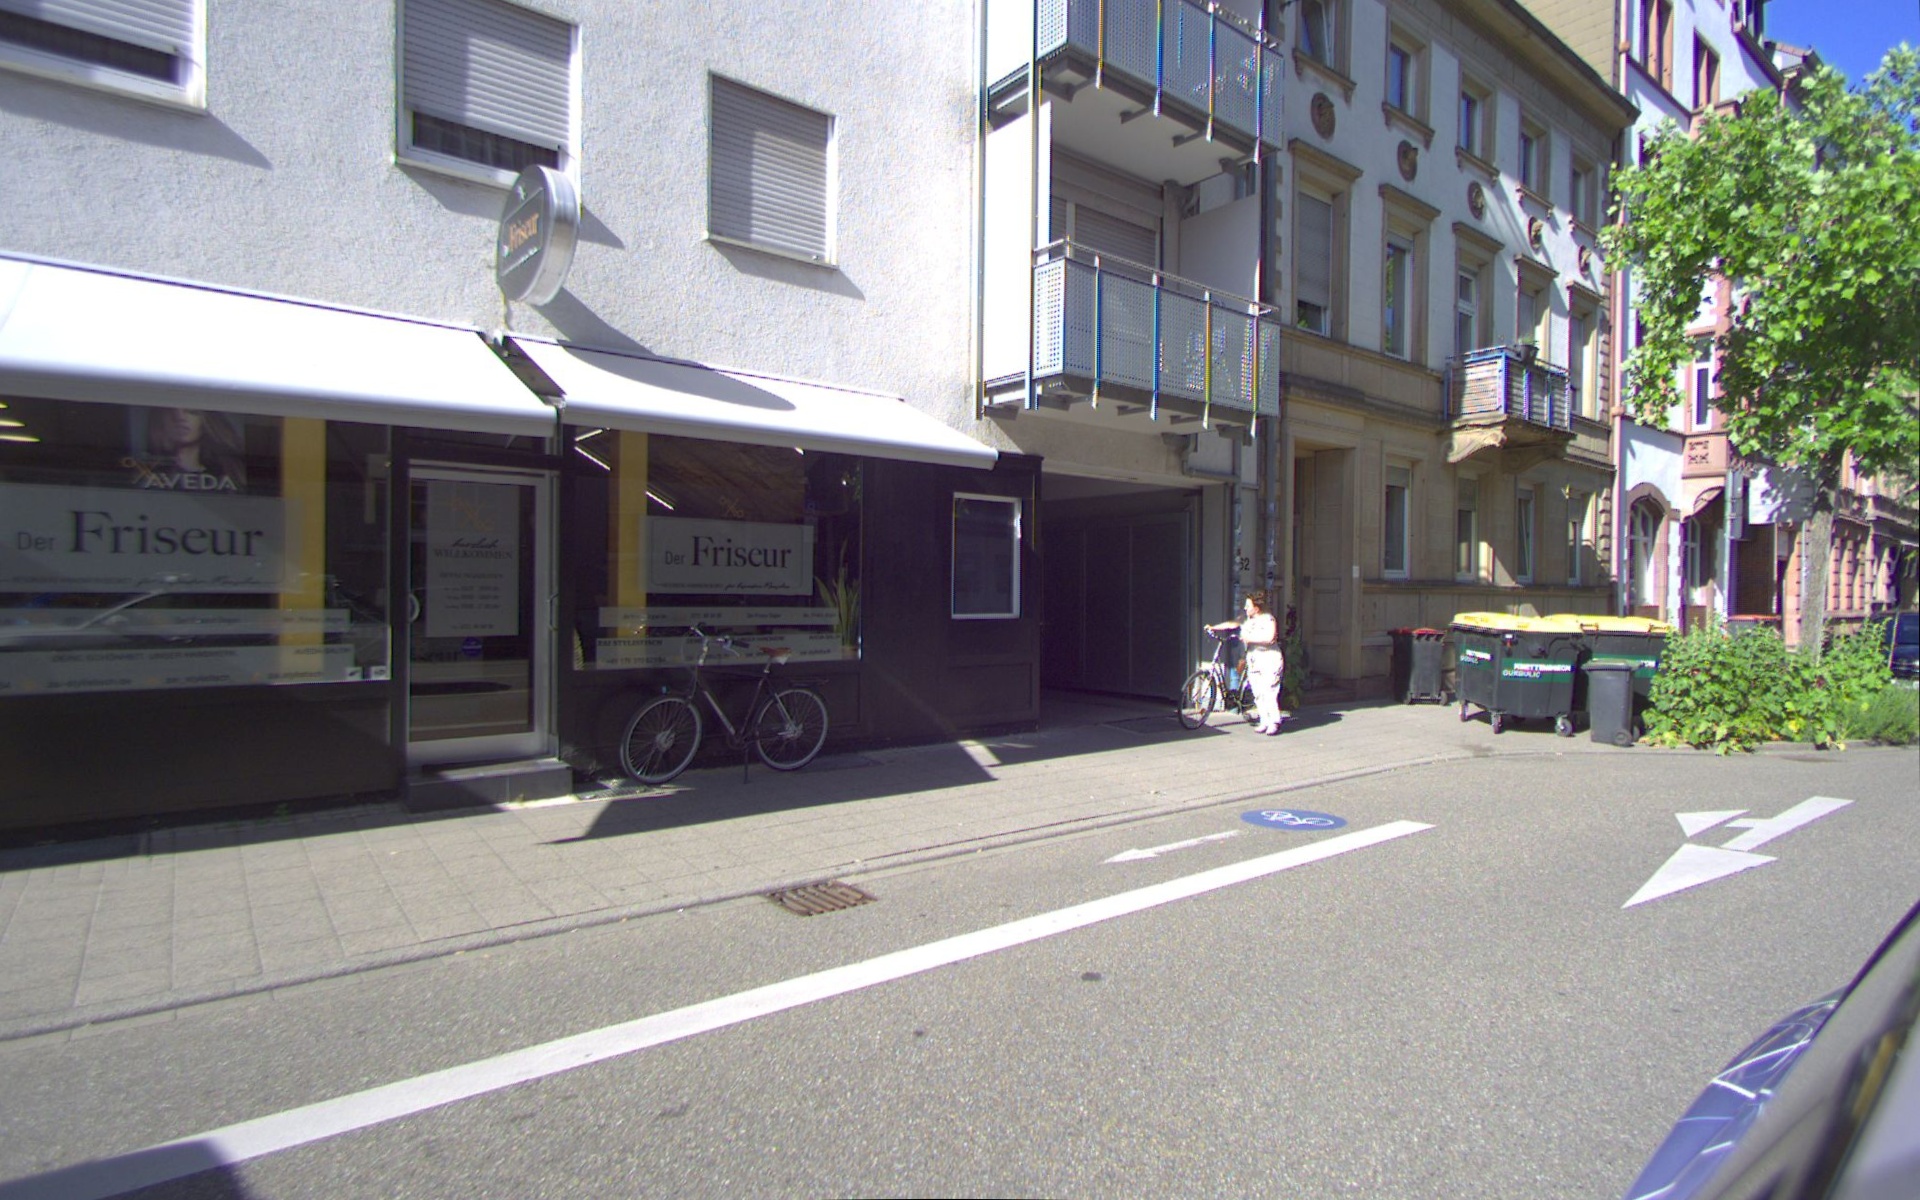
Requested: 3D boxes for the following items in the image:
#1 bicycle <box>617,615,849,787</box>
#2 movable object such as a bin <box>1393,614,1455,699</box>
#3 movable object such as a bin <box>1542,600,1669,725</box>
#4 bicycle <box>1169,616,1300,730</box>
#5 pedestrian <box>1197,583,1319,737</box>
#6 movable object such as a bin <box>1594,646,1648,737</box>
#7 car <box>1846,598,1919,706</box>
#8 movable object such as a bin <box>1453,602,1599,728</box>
[{"bbox_3d":[-1.724,0.724,7.877,1.759,1.193,0.402,0,0,-38],"label":"bicycle"},{"bbox_3d":[6.448,0.775,14.079,0.557,1.094,0.616,1,3,3],"label":"movable object such as a bin"},{"bbox_3d":[7.809,0.722,12.303,0.944,1.365,1.065,2,3,13],"label":"movable object such as a bin"},{"bbox_3d":[3.054,0.769,11.179,1.759,1.146,0.402,0,2,-38],"label":"bicycle"},{"bbox_3d":[3.267,0.623,11.122,0.929,1.556,0.825,0,4,-38],"label":"pedestrian"},{"bbox_3d":[7.383,1.006,11.305,0.400,0.933,0.477,3,4,44],"label":"movable object such as a bin"},{"bbox_3d":[14.810,0.733,15.344,3.291,1.510,1.551,0,1,-39],"label":"car"},{"bbox_3d":[6.681,0.734,12.024,1.031,1.341,1.215,1,3,3],"label":"movable object such as a bin"}]
